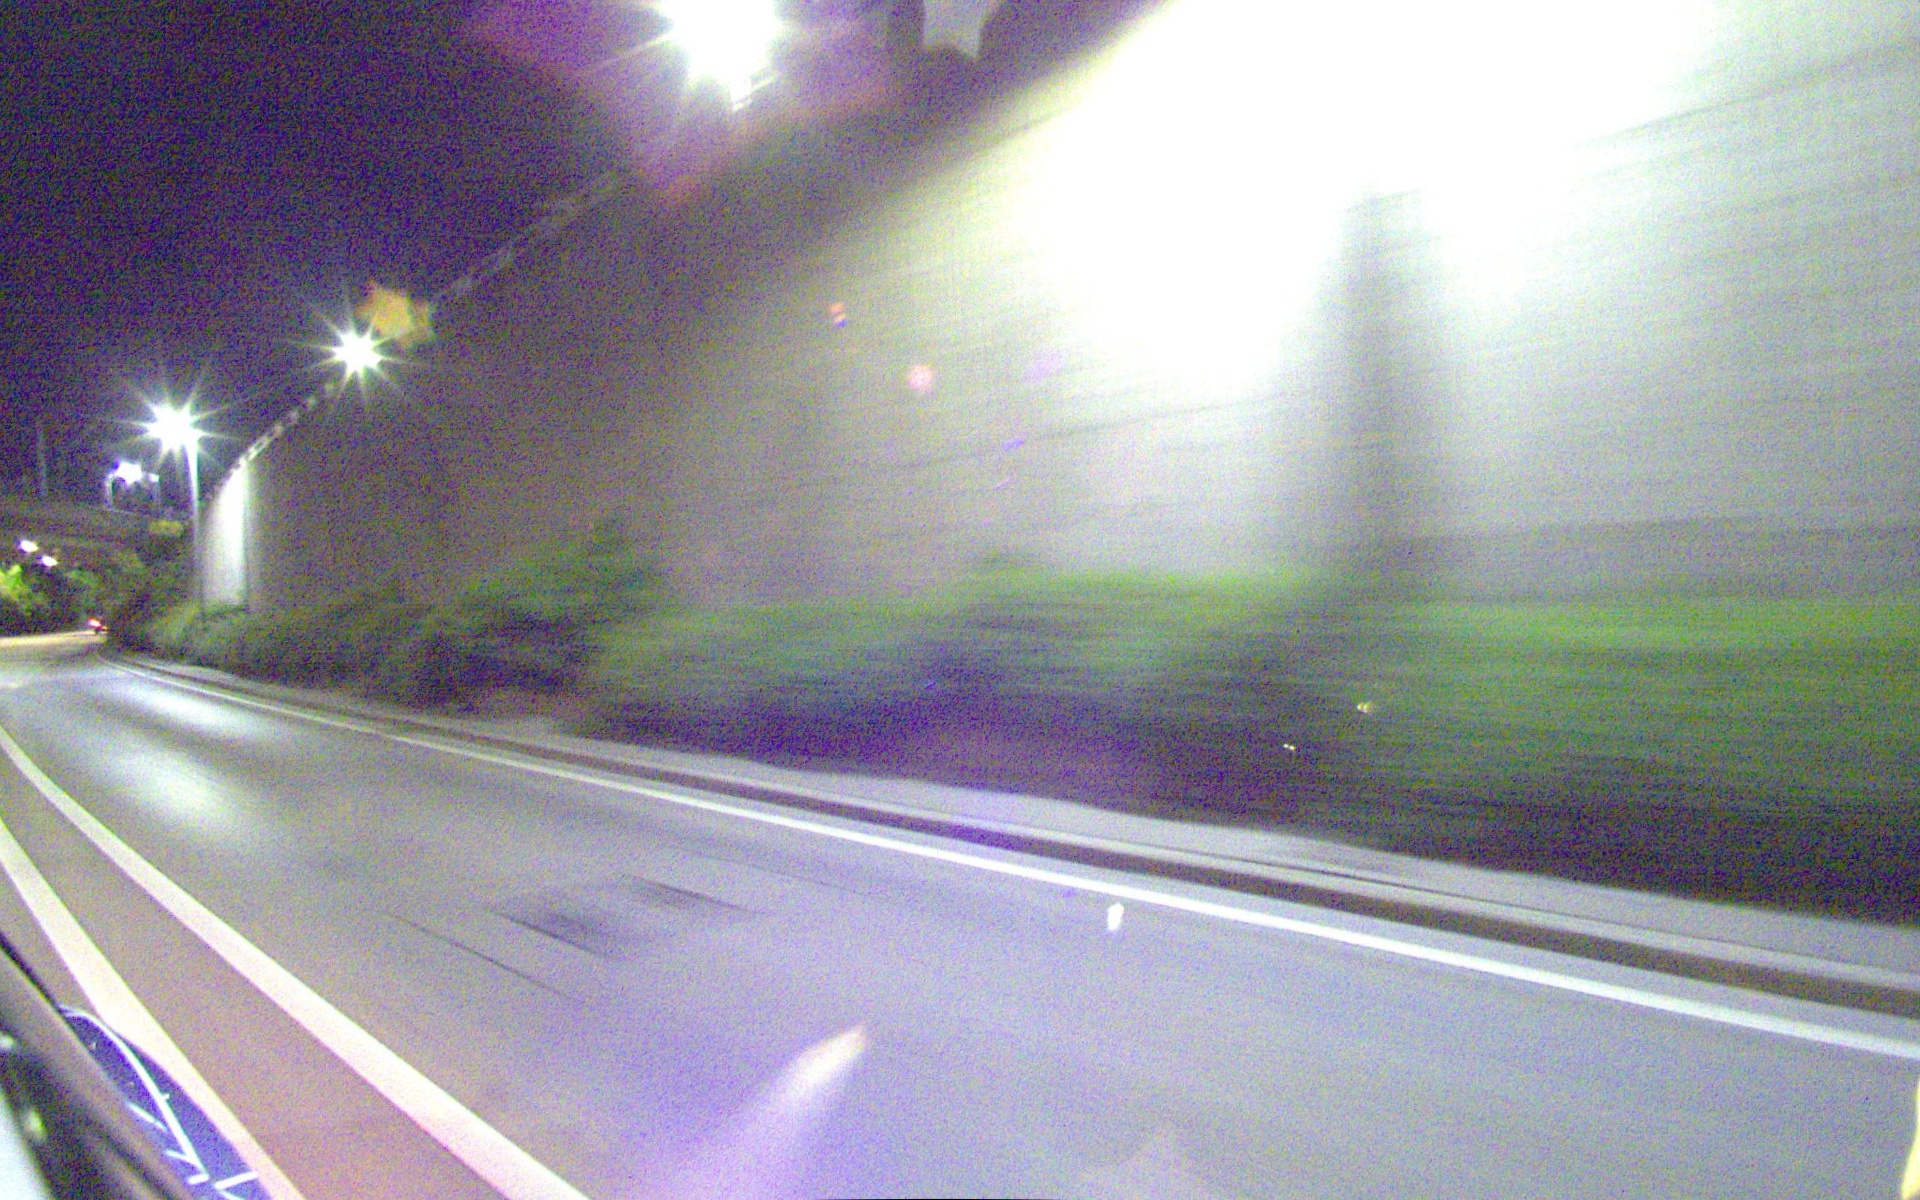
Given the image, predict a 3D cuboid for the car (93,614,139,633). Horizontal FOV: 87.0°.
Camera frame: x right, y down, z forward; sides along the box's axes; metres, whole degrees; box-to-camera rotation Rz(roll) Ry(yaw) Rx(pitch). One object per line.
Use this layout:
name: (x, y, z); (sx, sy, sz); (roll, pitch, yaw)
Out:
car: (-73.308, 2.062, 87.964); (1.832, 1.521, 4.013); (-1, 0, -20)
